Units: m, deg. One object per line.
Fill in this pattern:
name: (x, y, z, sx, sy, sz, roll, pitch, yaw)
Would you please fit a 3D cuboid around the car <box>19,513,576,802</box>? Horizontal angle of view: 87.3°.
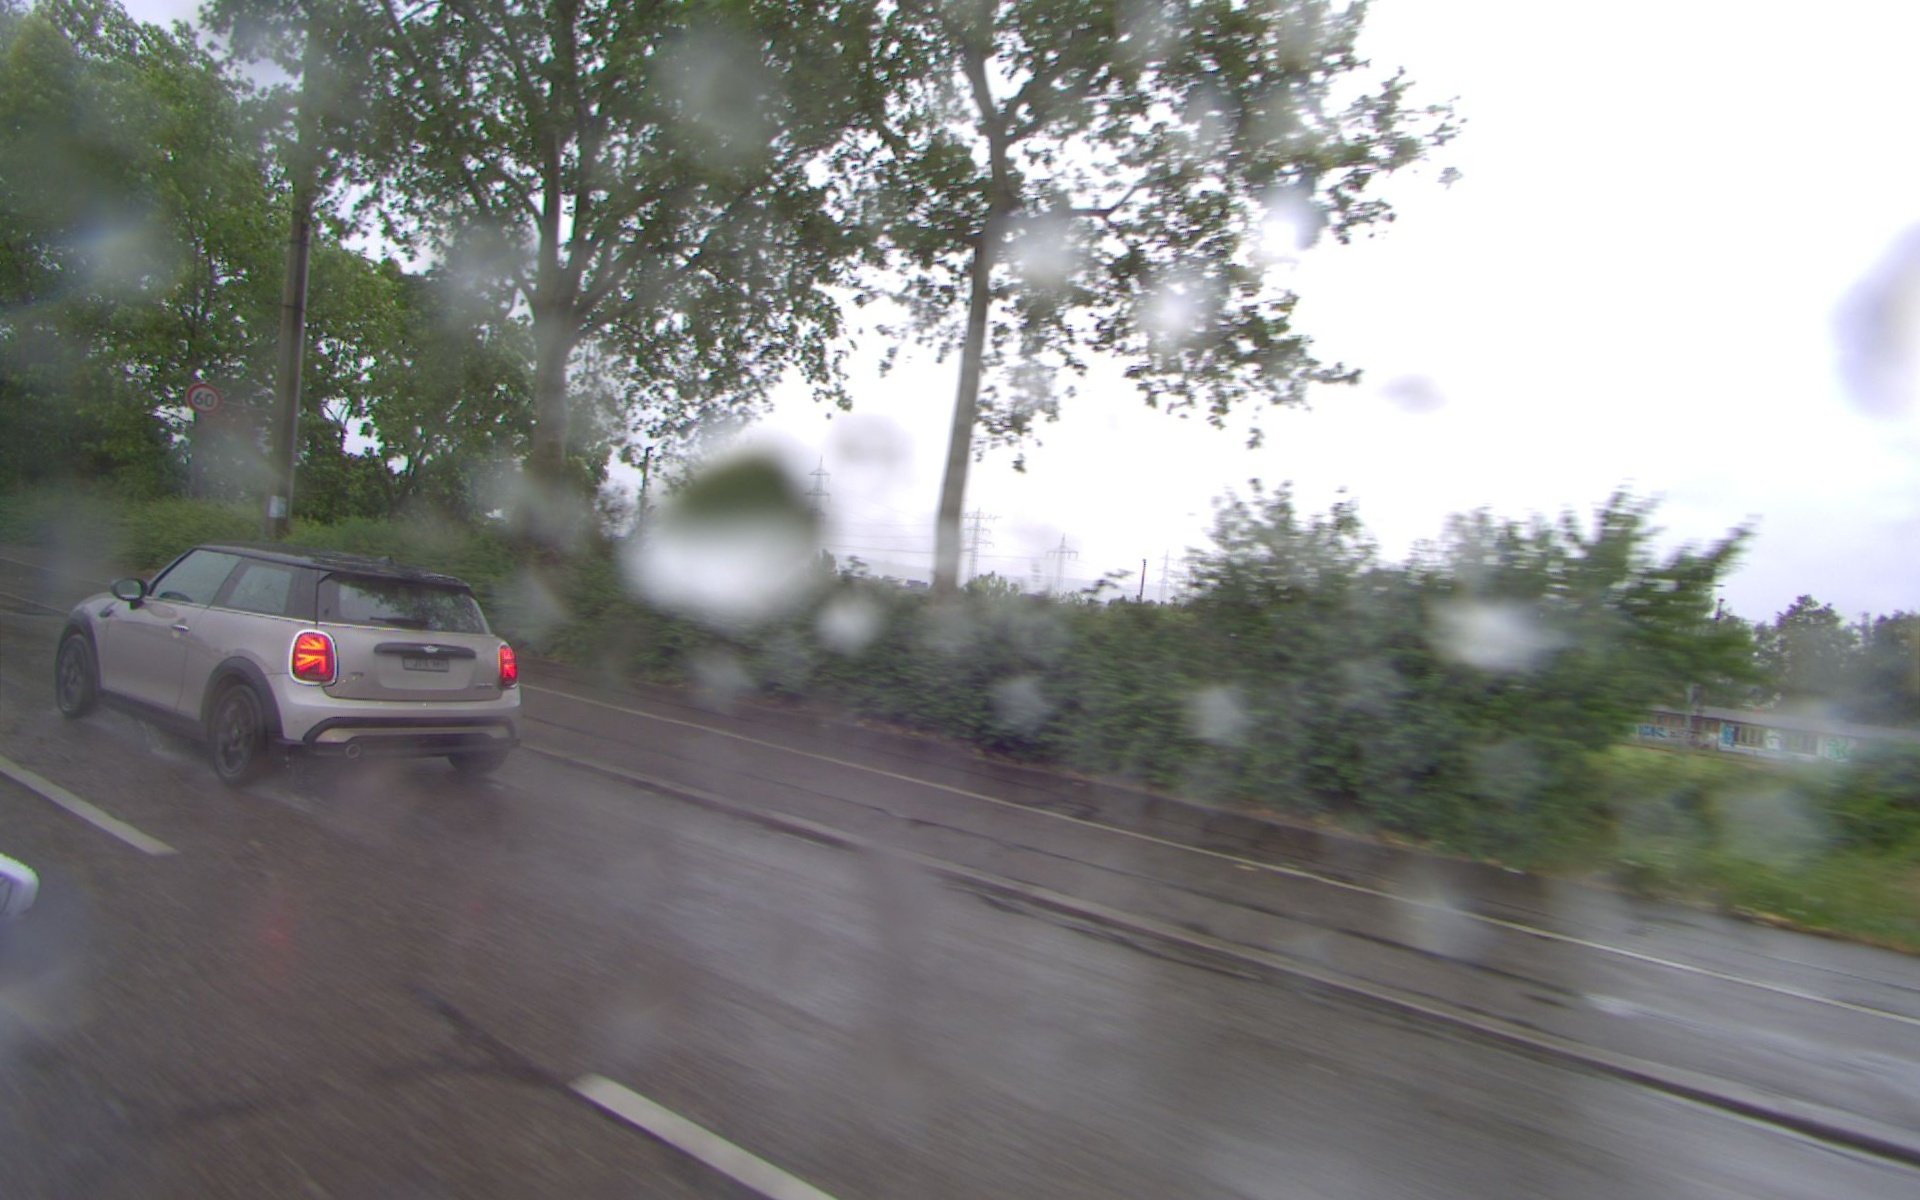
car: (-4.829, 0.327, 7.239, 3.790, 1.429, 1.795, 6, -3, 32)
